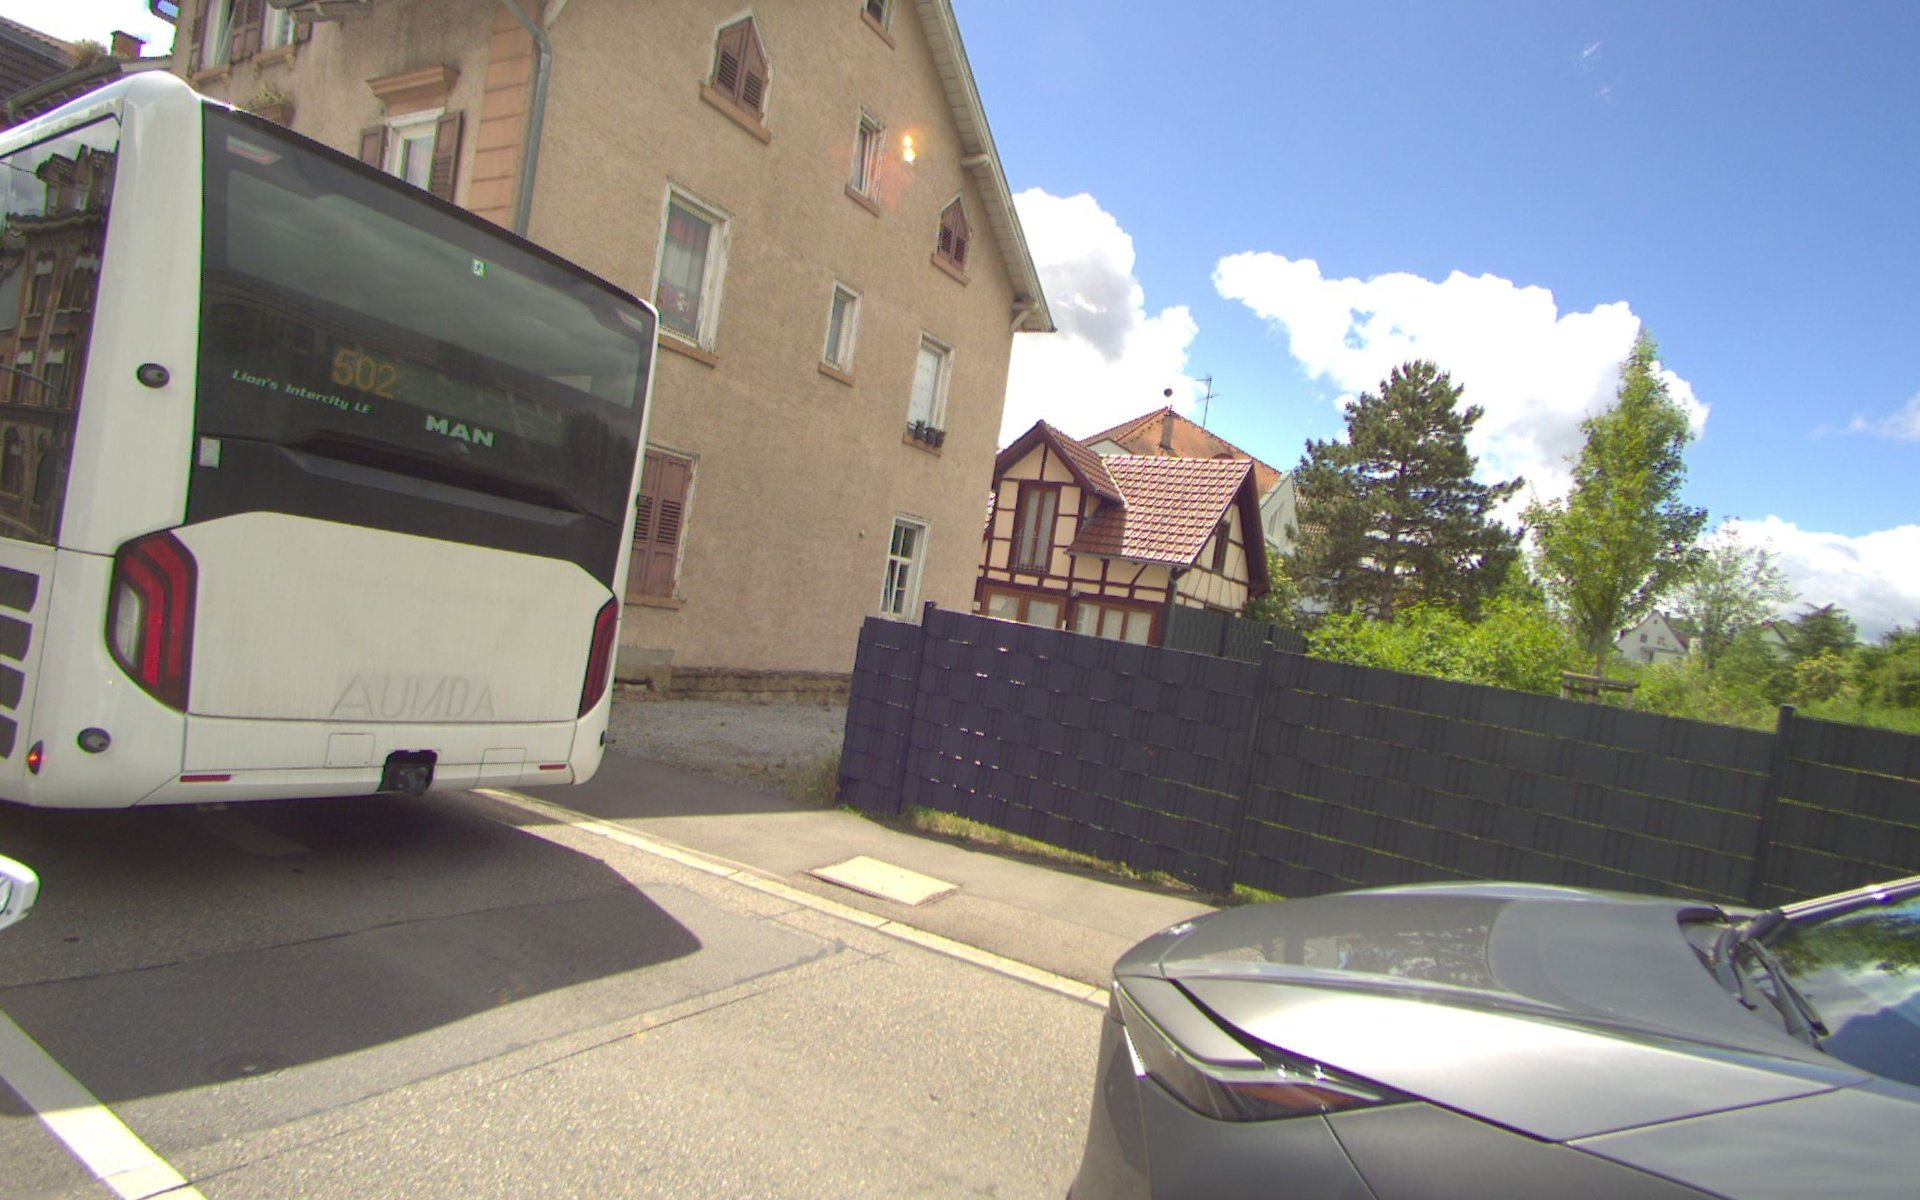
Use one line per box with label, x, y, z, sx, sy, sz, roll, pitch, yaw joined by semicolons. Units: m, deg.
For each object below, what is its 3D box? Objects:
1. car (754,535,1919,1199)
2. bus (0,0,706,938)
car;2.107;1.040;1.471;4.605;1.631;1.924;7;-2;32
bus;-7.447;-0.945;7.727;12.256;3.194;2.676;7;0;32
